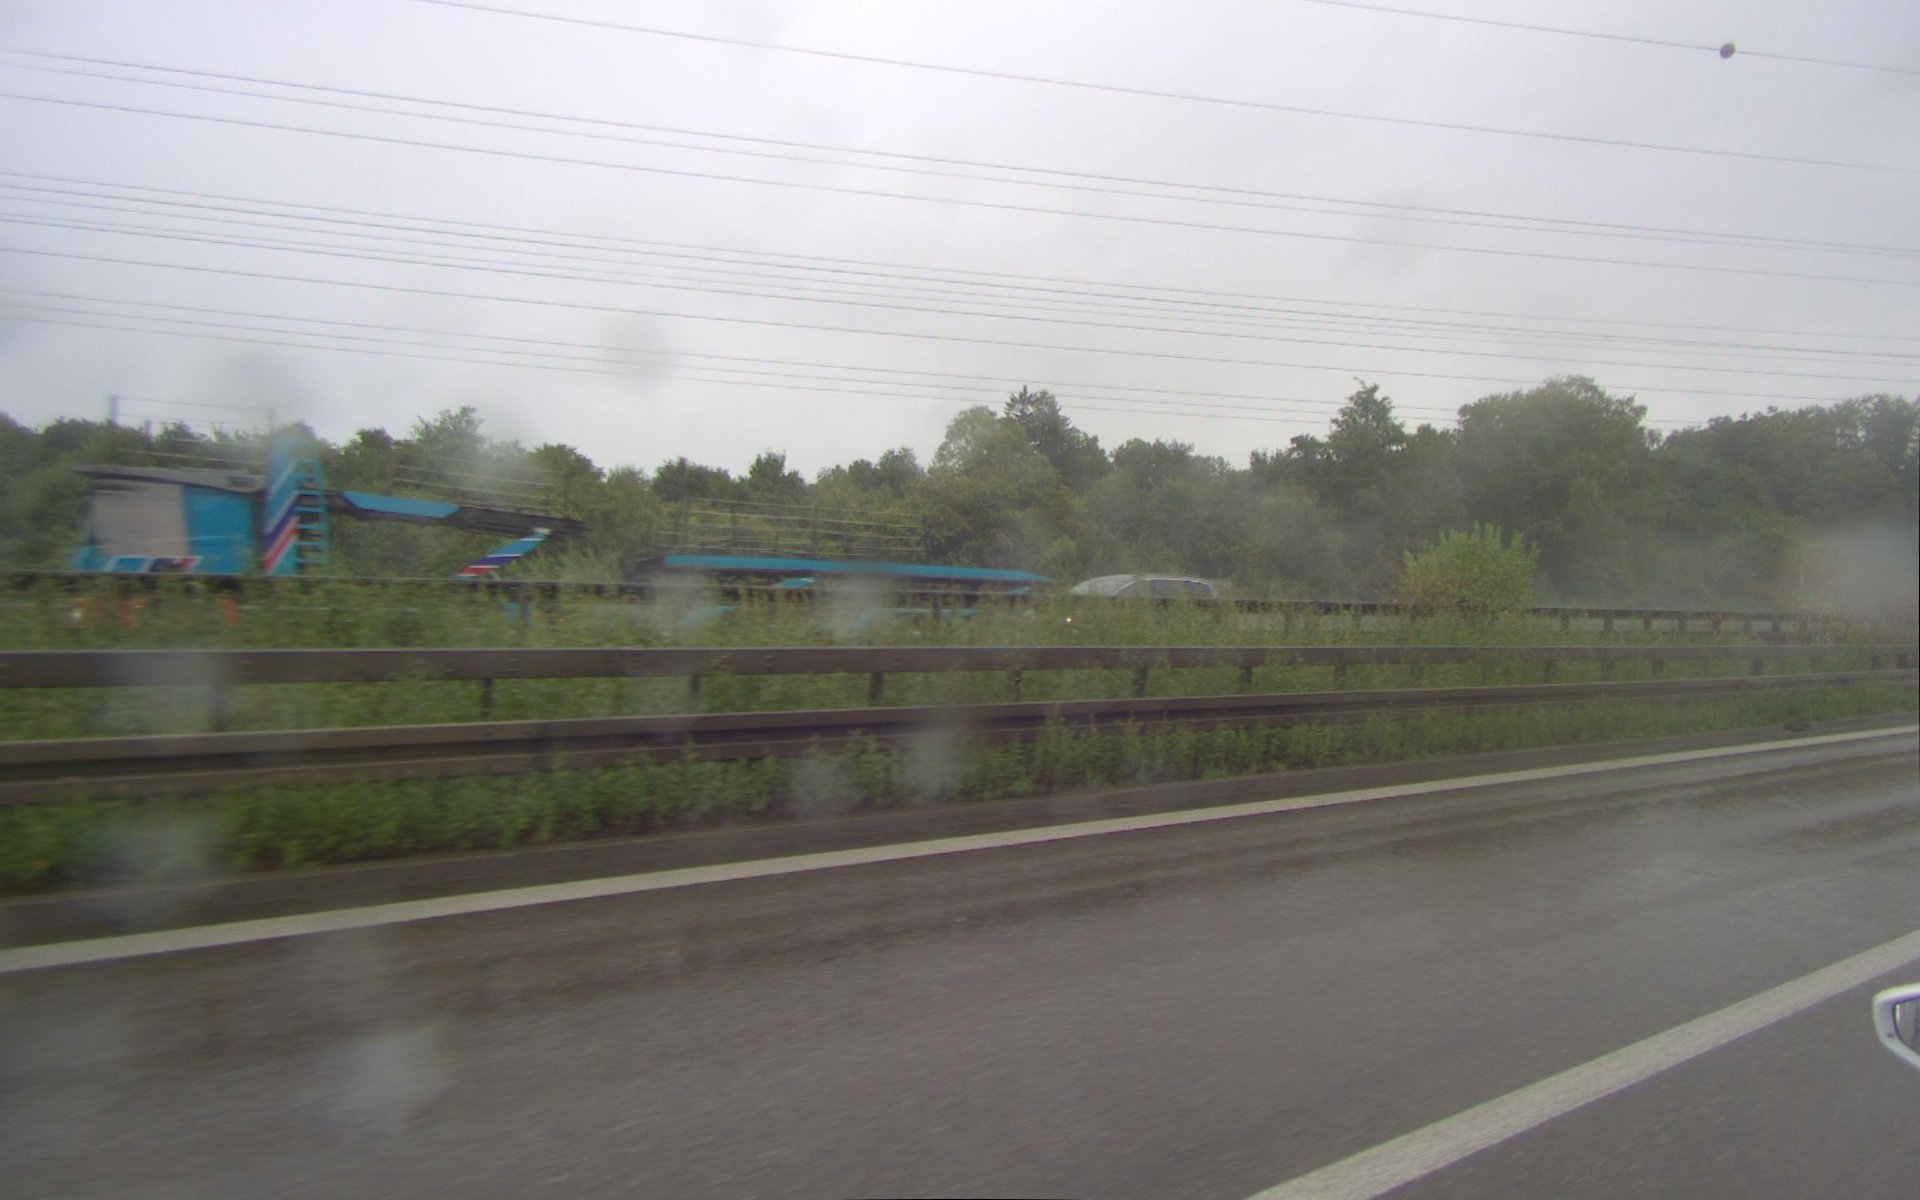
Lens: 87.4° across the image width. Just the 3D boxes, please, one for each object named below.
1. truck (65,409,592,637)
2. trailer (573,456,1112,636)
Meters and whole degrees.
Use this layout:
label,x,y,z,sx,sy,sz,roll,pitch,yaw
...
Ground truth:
label,x,y,z,sx,sy,sz,roll,pitch,yaw
truck,-10.655,-1.151,17.843,7.305,3.321,3.053,1,3,-30
trailer,-2.239,-0.986,22.787,11.879,3.294,3.032,1,3,-30
